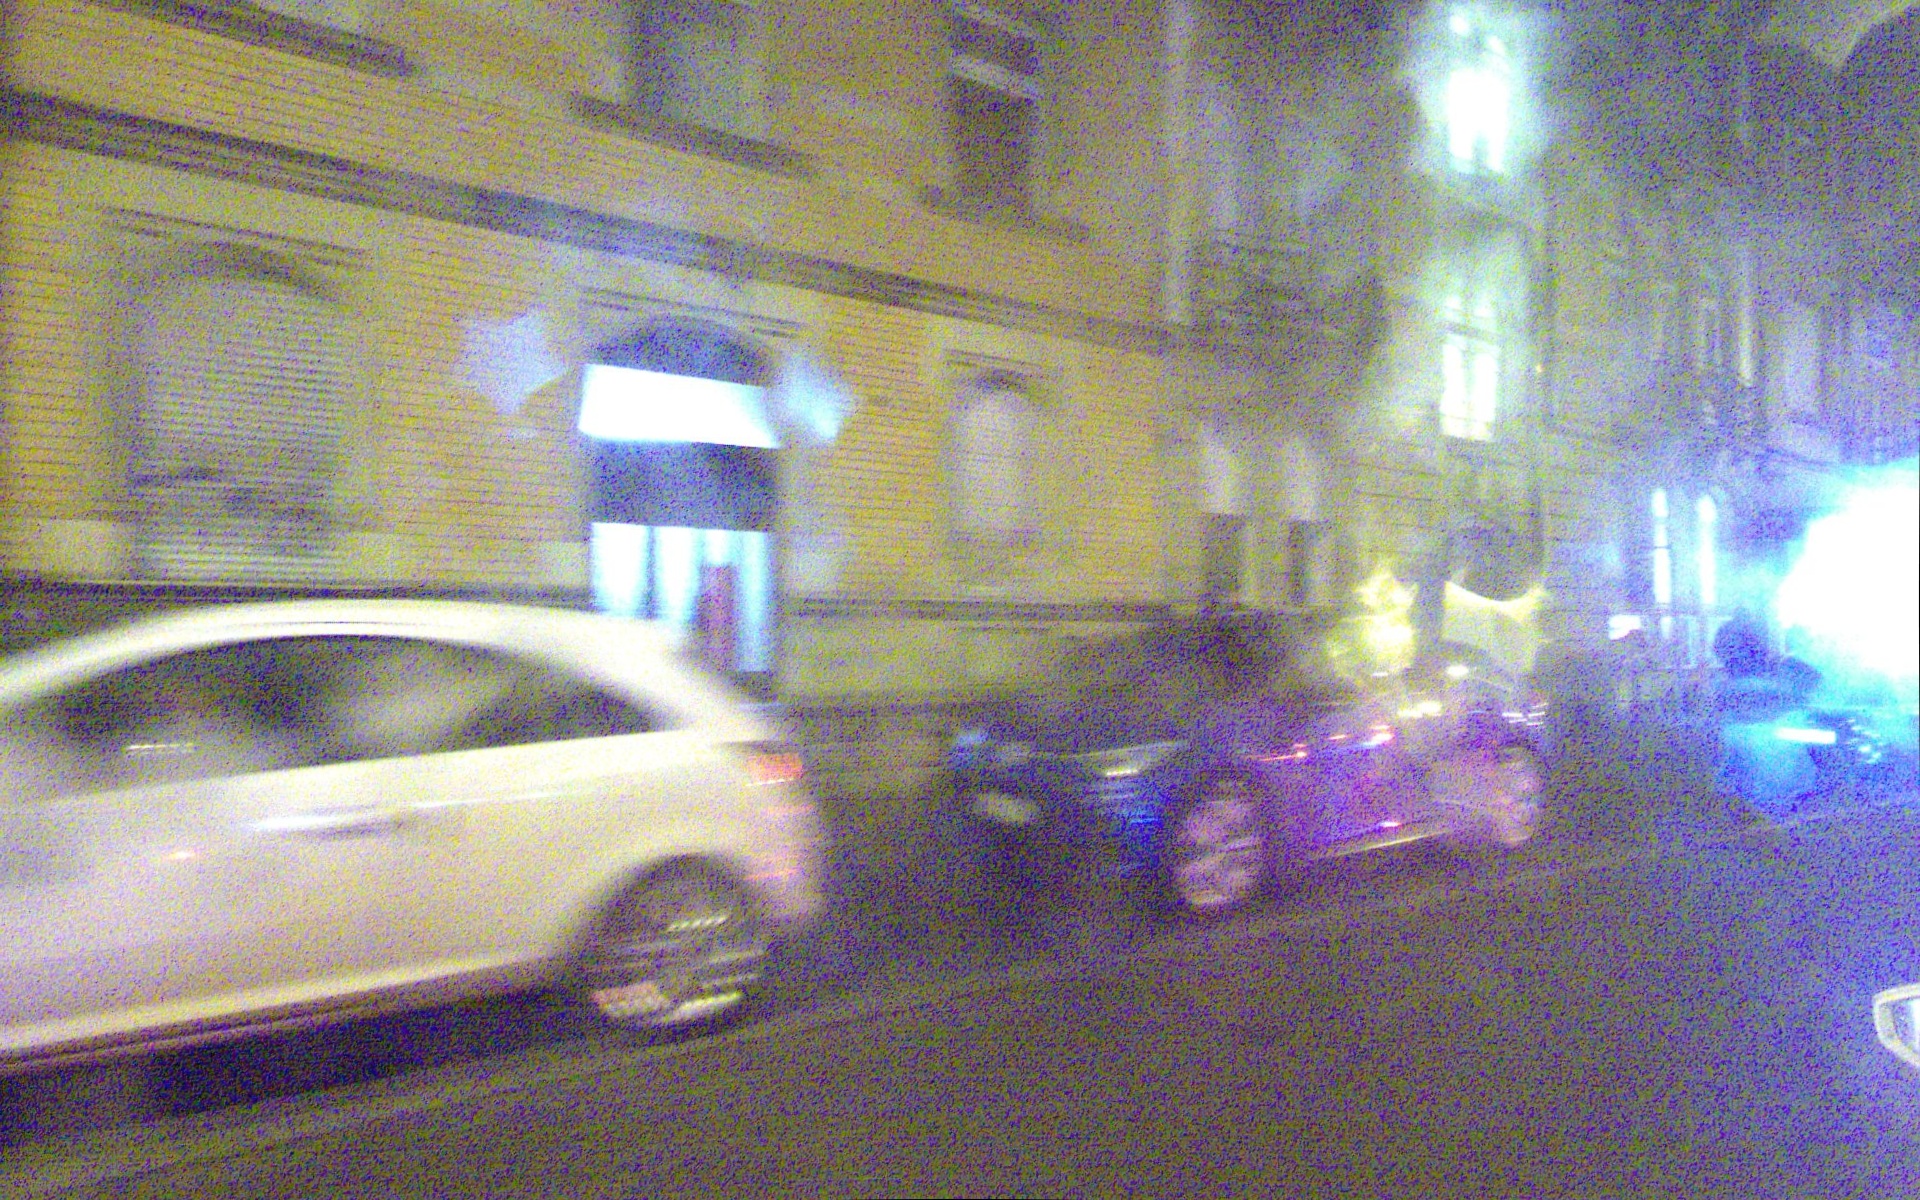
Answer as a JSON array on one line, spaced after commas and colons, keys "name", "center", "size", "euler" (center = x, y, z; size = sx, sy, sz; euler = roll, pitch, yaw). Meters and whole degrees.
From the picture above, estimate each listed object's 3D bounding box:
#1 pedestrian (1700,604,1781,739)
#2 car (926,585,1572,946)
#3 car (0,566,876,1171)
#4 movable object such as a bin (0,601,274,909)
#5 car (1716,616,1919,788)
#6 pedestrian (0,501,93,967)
[{"name": "pedestrian", "center": [10.374, 0.926, 13.357], "size": [0.533, 1.726, 0.698], "euler": [1, 0, -30]}, {"name": "car", "center": [1.934, 0.766, 6.217], "size": [4.034, 1.578, 1.645], "euler": [1, -1, -34]}, {"name": "car", "center": [-2.322, 0.680, 3.439], "size": [3.747, 1.502, 1.580], "euler": [1, -1, -29]}, {"name": "movable object such as a bin", "center": [-4.405, 0.732, 5.304], "size": [1.143, 1.417, 1.043], "euler": [1, 1, -28]}, {"name": "car", "center": [10.183, 0.993, 11.025], "size": [4.034, 1.578, 1.802], "euler": [1, -1, -34]}, {"name": "pedestrian", "center": [-4.135, 0.521, 4.098], "size": [0.785, 1.845, 0.588], "euler": [1, 1, -30]}]
